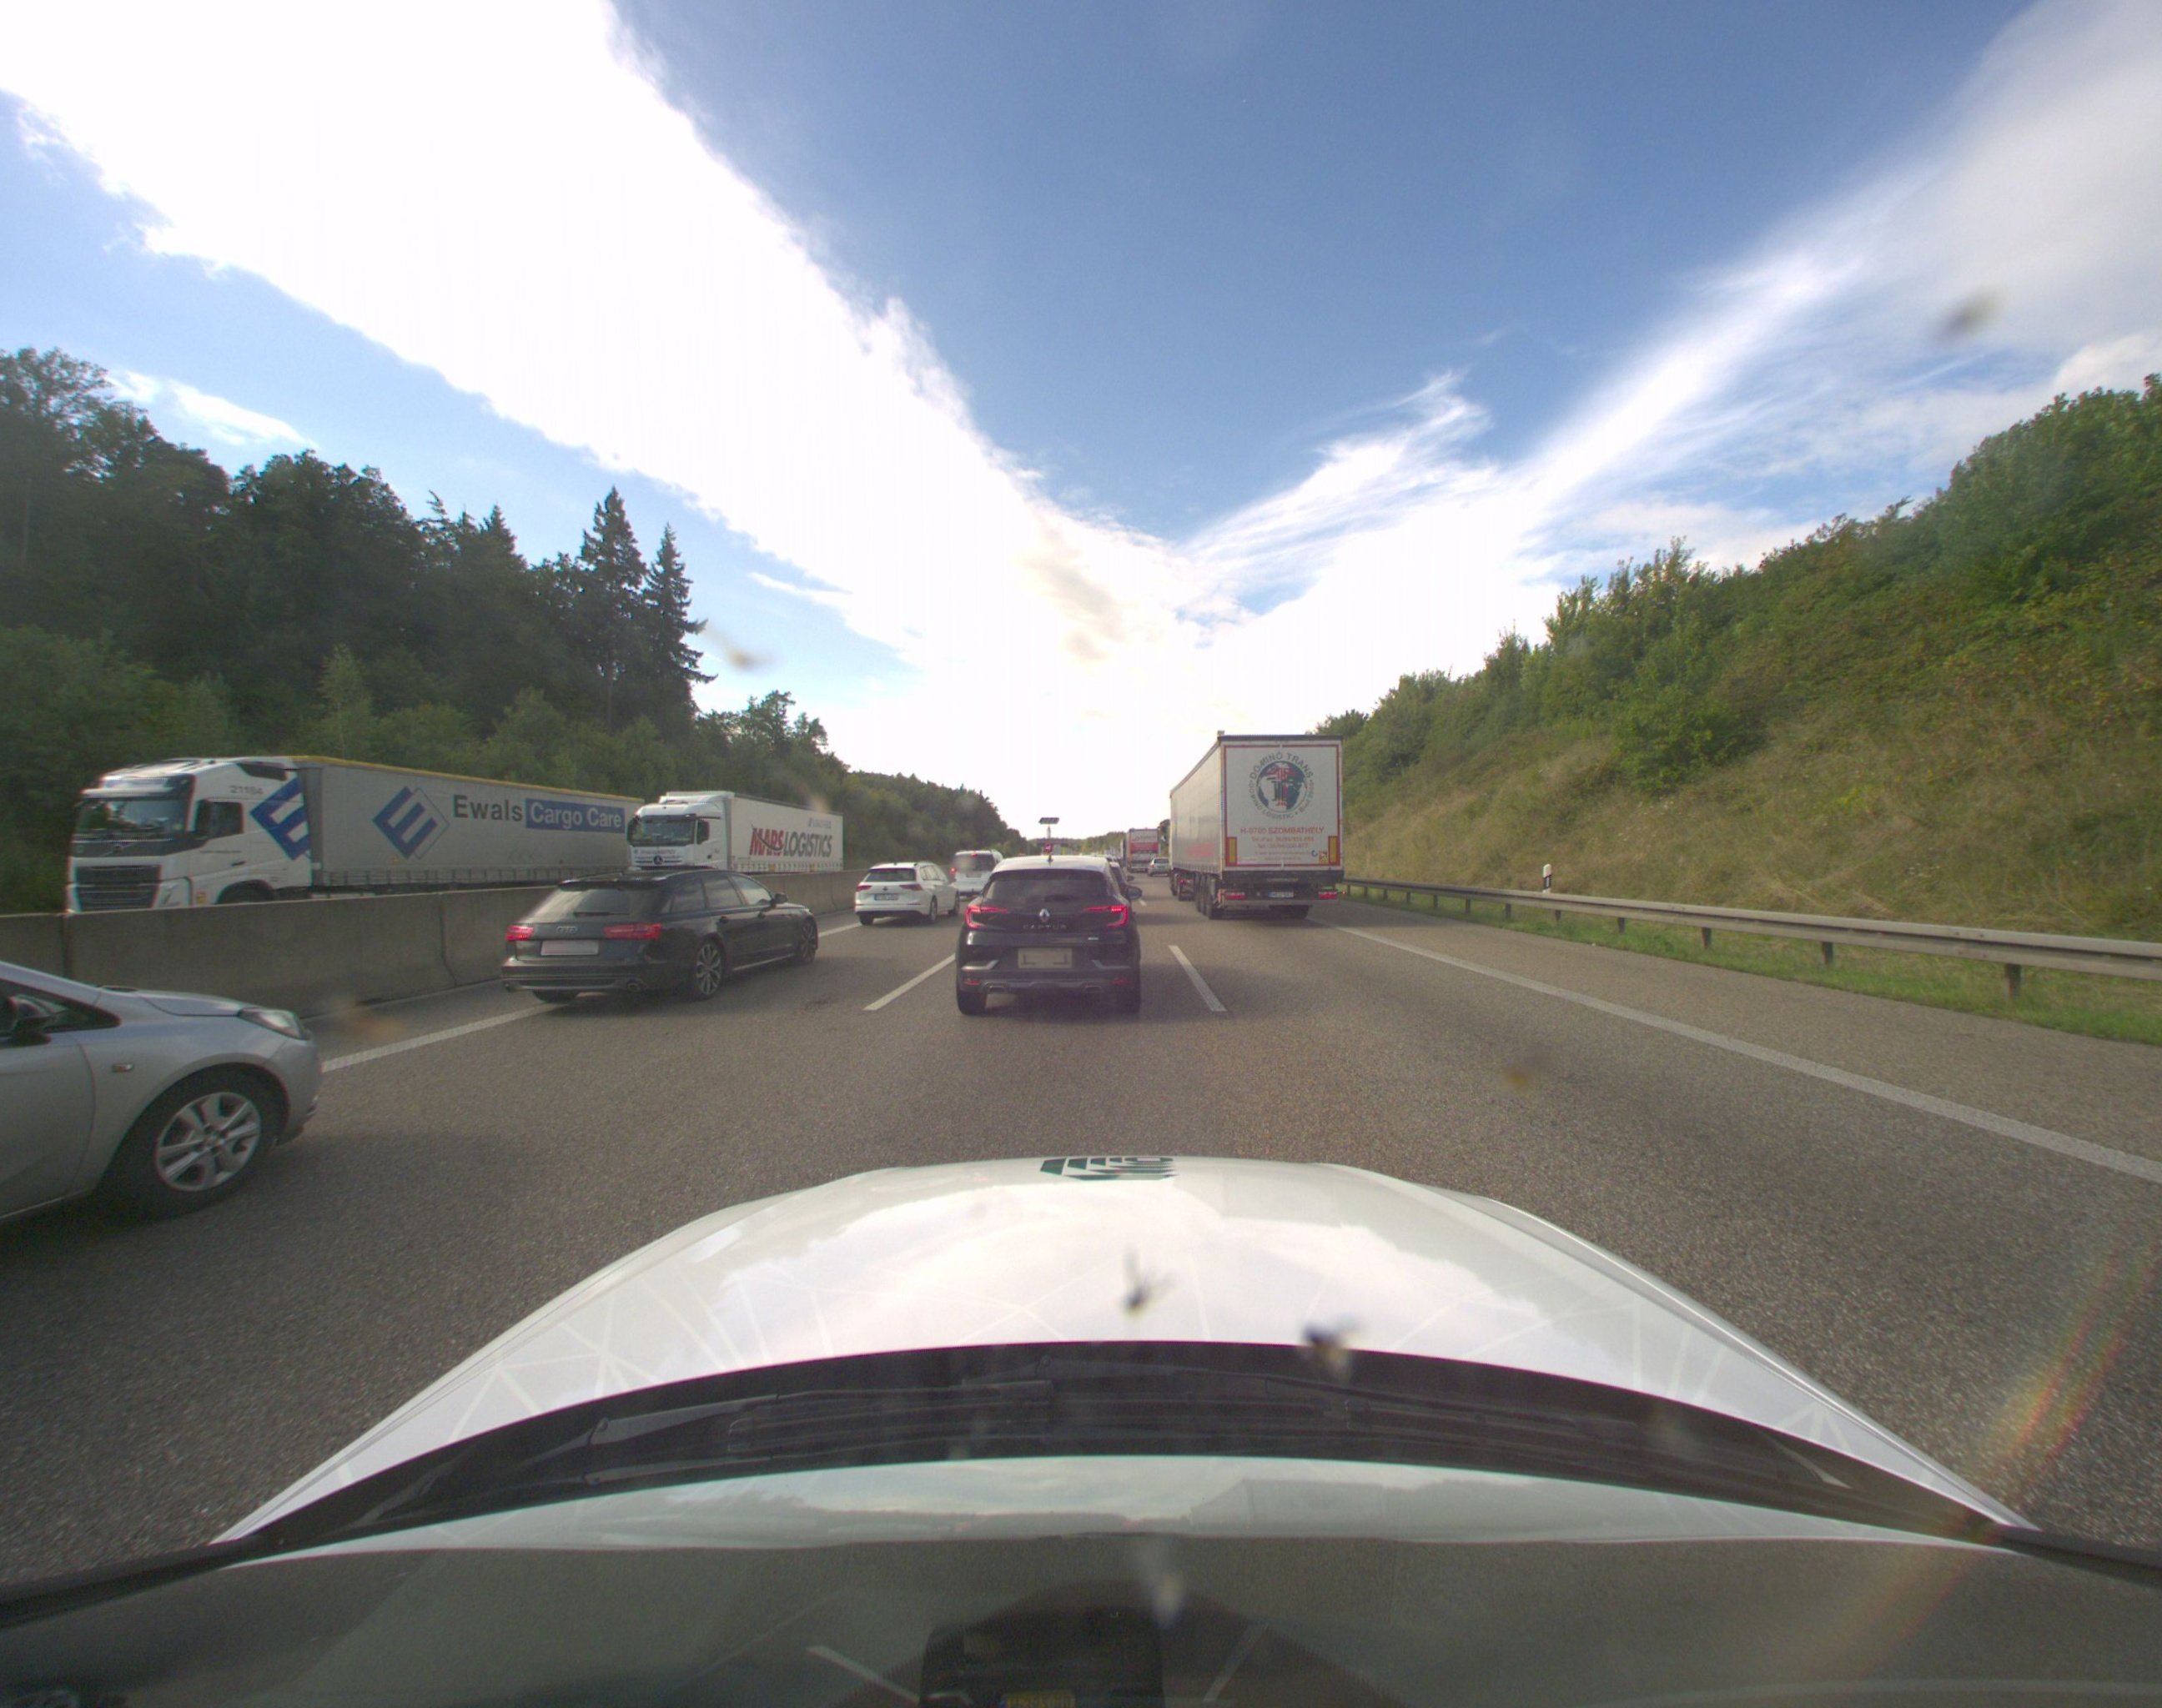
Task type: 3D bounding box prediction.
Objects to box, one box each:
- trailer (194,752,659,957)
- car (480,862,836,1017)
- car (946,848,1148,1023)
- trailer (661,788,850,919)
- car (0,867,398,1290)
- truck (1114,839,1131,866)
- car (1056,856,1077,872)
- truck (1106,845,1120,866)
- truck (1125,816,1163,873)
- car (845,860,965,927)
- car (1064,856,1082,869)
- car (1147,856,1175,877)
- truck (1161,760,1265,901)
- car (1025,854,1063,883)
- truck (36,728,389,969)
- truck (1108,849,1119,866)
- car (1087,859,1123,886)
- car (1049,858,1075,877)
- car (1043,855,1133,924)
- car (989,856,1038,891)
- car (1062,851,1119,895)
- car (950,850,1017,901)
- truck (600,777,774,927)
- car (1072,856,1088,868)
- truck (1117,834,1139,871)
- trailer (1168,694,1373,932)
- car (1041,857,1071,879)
[{"bbox_3d":[-19.280,0.102,26.594,2.916,4.830,14.659,0,-1,2],"label":"trailer"},{"bbox_3d":[-4.833,0.856,10.284,1.835,1.456,4.751,0,0,2],"label":"car"},{"bbox_3d":[-0.152,0.745,9.311,1.796,1.552,4.005,-1,0,4],"label":"car"},{"bbox_3d":[-14.618,0.058,38.608,3.077,5.074,13.838,0,-1,1],"label":"trailer"},{"bbox_3d":[-4.726,0.830,2.486,1.740,1.465,4.043,-1,0,2],"label":"car"},{"bbox_3d":[8.692,-0.198,169.451,3.152,5.505,12.751,0,-1,4],"label":"truck"},{"bbox_3d":[-1.482,1.018,85.346,1.985,1.613,4.003,-1,0,3],"label":"car"},{"bbox_3d":[8.072,0.440,202.779,3.153,5.159,12.746,0,-1,3],"label":"truck"},{"bbox_3d":[5.942,-0.777,78.745,3.351,5.044,12.746,0,-1,3],"label":"truck"},{"bbox_3d":[-4.203,0.897,20.170,1.797,1.461,4.312,-1,-1,3],"label":"car"},{"bbox_3d":[-1.018,1.010,102.834,1.985,1.613,4.003,-1,0,3],"label":"car"},{"bbox_3d":[5.998,0.965,61.654,1.798,1.533,3.926,0,-1,1],"label":"car"},{"bbox_3d":[4.694,-0.787,30.103,2.986,4.667,5.942,-1,0,2],"label":"truck"},{"bbox_3d":[-2.276,0.914,51.083,1.985,1.722,4.002,0,-1,3],"label":"car"},{"bbox_3d":[-19.552,-0.083,18.823,2.921,4.859,4.767,0,-1,2],"label":"truck"},{"bbox_3d":[10.521,1.128,262.733,3.153,5.505,12.746,0,-1,3],"label":"truck"},{"bbox_3d":[1.414,1.037,47.244,1.985,1.514,4.002,0,-1,3],"label":"car"},{"bbox_3d":[-1.625,1.139,70.658,1.985,1.613,4.002,0,-1,3],"label":"car"},{"bbox_3d":[0.242,0.811,20.089,1.985,1.514,4.002,0,-1,3],"label":"car"},{"bbox_3d":[-3.264,0.930,40.124,1.848,1.641,3.928,0,-1,3],"label":"car"},{"bbox_3d":[0.418,0.690,30.207,1.985,1.514,4.002,0,-1,3],"label":"car"},{"bbox_3d":[-3.627,0.773,30.959,1.905,1.789,4.418,0,-1,1],"label":"car"},{"bbox_3d":[-14.830,-0.036,31.444,3.076,5.101,7.144,0,-1,2],"label":"truck"},{"bbox_3d":[-0.105,1.152,116.163,1.985,1.613,4.003,-1,0,3],"label":"car"},{"bbox_3d":[7.391,-0.123,128.795,3.153,5.505,12.746,0,-1,3],"label":"truck"},{"bbox_3d":[4.460,-0.797,22.737,2.991,4.661,13.295,-1,0,2],"label":"trailer"},{"bbox_3d":[-1.883,1.052,63.125,1.985,1.613,4.002,0,-1,3],"label":"car"}]
